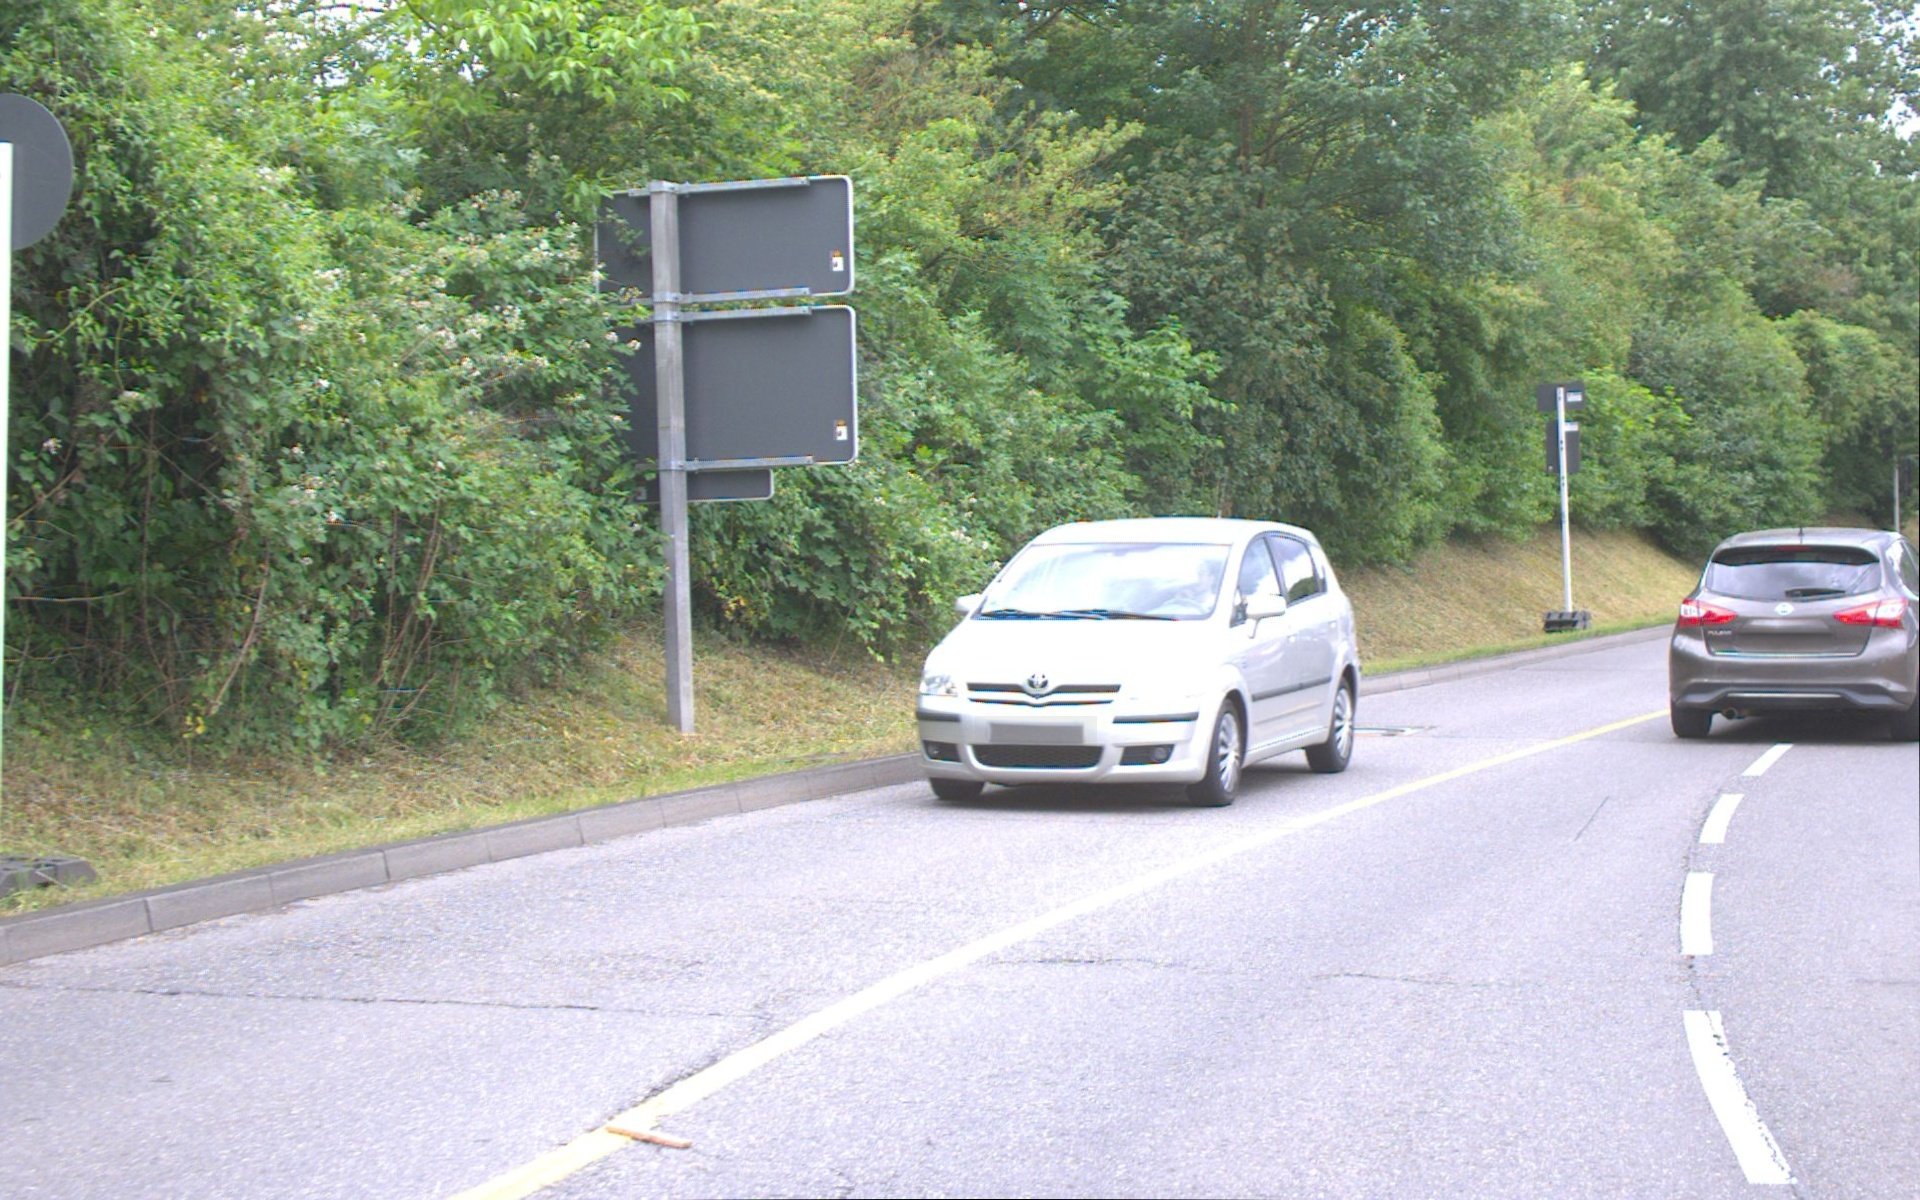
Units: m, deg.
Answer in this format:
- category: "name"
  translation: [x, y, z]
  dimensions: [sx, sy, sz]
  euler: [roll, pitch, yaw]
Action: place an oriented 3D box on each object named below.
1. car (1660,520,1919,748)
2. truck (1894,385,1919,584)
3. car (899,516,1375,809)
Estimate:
- category: "car"
  translation: [6.513, 0.199, 25.717]
  dimensions: [1.800, 1.547, 3.996]
  euler: [1, 1, 22]
- category: "truck"
  translation: [18.789, -2.153, 61.025]
  dimensions: [2.823, 3.324, 8.370]
  euler: [-2, 2, 25]
- category: "car"
  translation: [1.170, 0.296, 20.476]
  dimensions: [1.658, 1.547, 4.183]
  euler: [1, 1, 20]
